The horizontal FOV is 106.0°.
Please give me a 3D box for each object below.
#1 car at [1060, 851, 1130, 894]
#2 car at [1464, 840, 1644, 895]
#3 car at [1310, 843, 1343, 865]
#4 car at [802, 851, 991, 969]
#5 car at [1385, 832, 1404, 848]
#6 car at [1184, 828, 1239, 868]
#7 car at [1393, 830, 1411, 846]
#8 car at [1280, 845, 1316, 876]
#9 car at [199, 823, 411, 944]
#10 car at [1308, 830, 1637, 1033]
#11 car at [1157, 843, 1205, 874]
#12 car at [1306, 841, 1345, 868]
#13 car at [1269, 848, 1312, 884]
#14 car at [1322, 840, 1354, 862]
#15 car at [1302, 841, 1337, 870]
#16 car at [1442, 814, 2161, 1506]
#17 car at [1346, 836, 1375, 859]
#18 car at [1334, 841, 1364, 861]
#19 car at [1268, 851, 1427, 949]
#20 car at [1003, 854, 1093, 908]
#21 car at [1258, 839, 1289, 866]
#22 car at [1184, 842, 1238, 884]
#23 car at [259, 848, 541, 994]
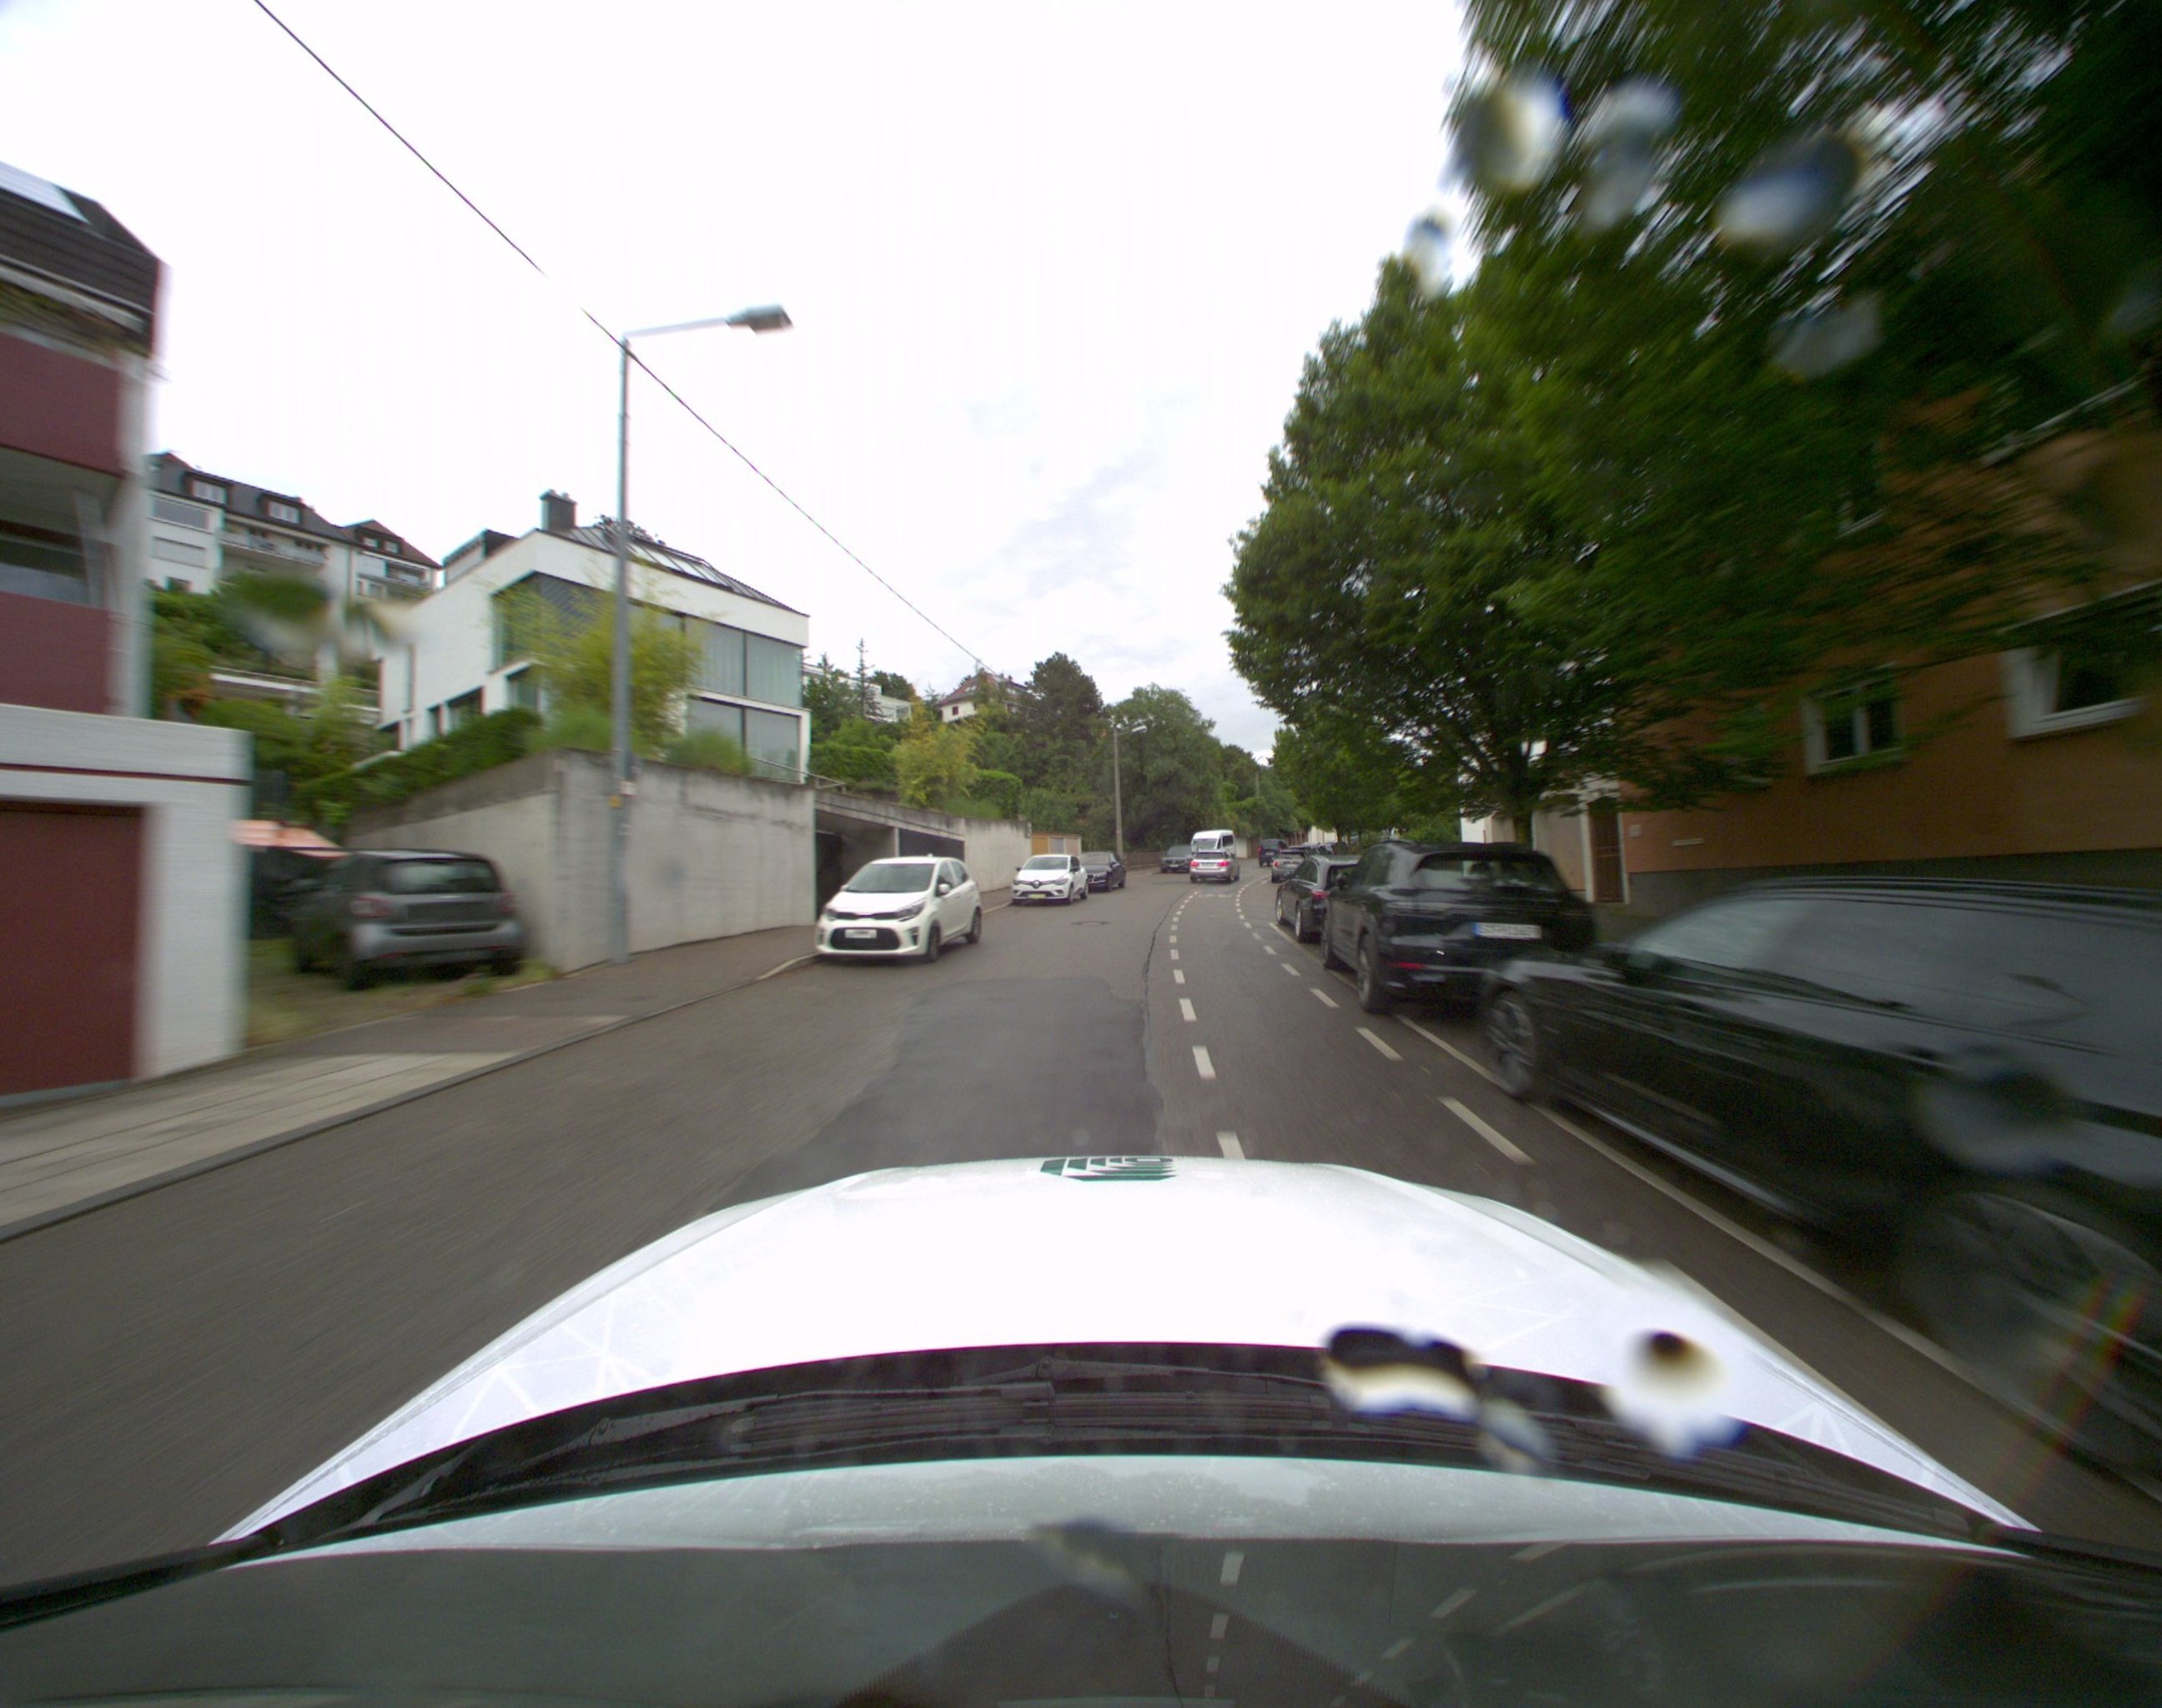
[{"bbox_3d":[0.622,0.657,31.239,1.701,1.459,4.699,-1,0,13],"label":"car"},{"bbox_3d":[13.812,0.386,24.049,4.269,1.465,1.943,1,-1,17],"label":"car"},{"bbox_3d":[17.156,-0.047,56.831,1.628,1.424,4.312,1,1,25],"label":"car"},{"bbox_3d":[-2.687,0.751,12.766,1.618,1.516,3.840,-1,0,7],"label":"car"},{"bbox_3d":[36.419,-1.603,94.530,1.764,1.783,4.705,-1,1,23],"label":"car"},{"bbox_3d":[9.050,-0.467,56.072,2.075,2.550,6.132,-2,1,25],"label":"car"},{"bbox_3d":[41.912,-2.054,106.123,1.976,2.052,5.150,-1,1,24],"label":"car"},{"bbox_3d":[11.470,0.336,42.930,1.613,1.562,3.037,0,1,19],"label":"car"},{"bbox_3d":[-12.969,0.405,13.565,3.827,1.745,1.800,1,0,35],"label":"car"},{"bbox_3d":[3.966,0.630,9.396,2.041,1.656,5.250,-1,0,10],"label":"car"},{"bbox_3d":[6.030,0.247,48.645,1.880,1.691,4.567,-2,0,19],"label":"car"},{"bbox_3d":[15.278,0.002,50.780,1.760,1.553,4.755,0,1,23],"label":"car"},{"bbox_3d":[9.381,0.493,36.244,1.655,1.471,3.727,1,1,17],"label":"car"},{"bbox_3d":[19.508,-0.243,61.745,1.698,1.556,4.189,1,2,27],"label":"car"},{"bbox_3d":[13.528,0.054,46.082,1.640,1.519,4.020,0,1,20],"label":"car"},{"bbox_3d":[3.463,0.677,3.512,1.847,1.581,4.861,-1,0,3],"label":"car"},{"bbox_3d":[24.474,-0.577,71.115,1.761,1.851,4.452,0,1,27],"label":"car"},{"bbox_3d":[21.946,-0.267,66.622,1.633,1.481,4.045,0,1,29],"label":"car"},{"bbox_3d":[4.706,0.697,15.167,1.852,1.469,5.066,1,0,7],"label":"car"},{"bbox_3d":[-0.902,0.754,24.584,1.821,1.440,4.052,-2,0,11],"label":"car"},{"bbox_3d":[13.218,-0.102,55.863,1.979,1.708,4.015,-1,0,14],"label":"car"},{"bbox_3d":[5.834,0.370,36.108,2.011,1.708,4.231,-1,0,13],"label":"car"},{"bbox_3d":[-8.725,0.690,10.359,3.881,1.478,1.779,1,1,35],"label":"car"}]
